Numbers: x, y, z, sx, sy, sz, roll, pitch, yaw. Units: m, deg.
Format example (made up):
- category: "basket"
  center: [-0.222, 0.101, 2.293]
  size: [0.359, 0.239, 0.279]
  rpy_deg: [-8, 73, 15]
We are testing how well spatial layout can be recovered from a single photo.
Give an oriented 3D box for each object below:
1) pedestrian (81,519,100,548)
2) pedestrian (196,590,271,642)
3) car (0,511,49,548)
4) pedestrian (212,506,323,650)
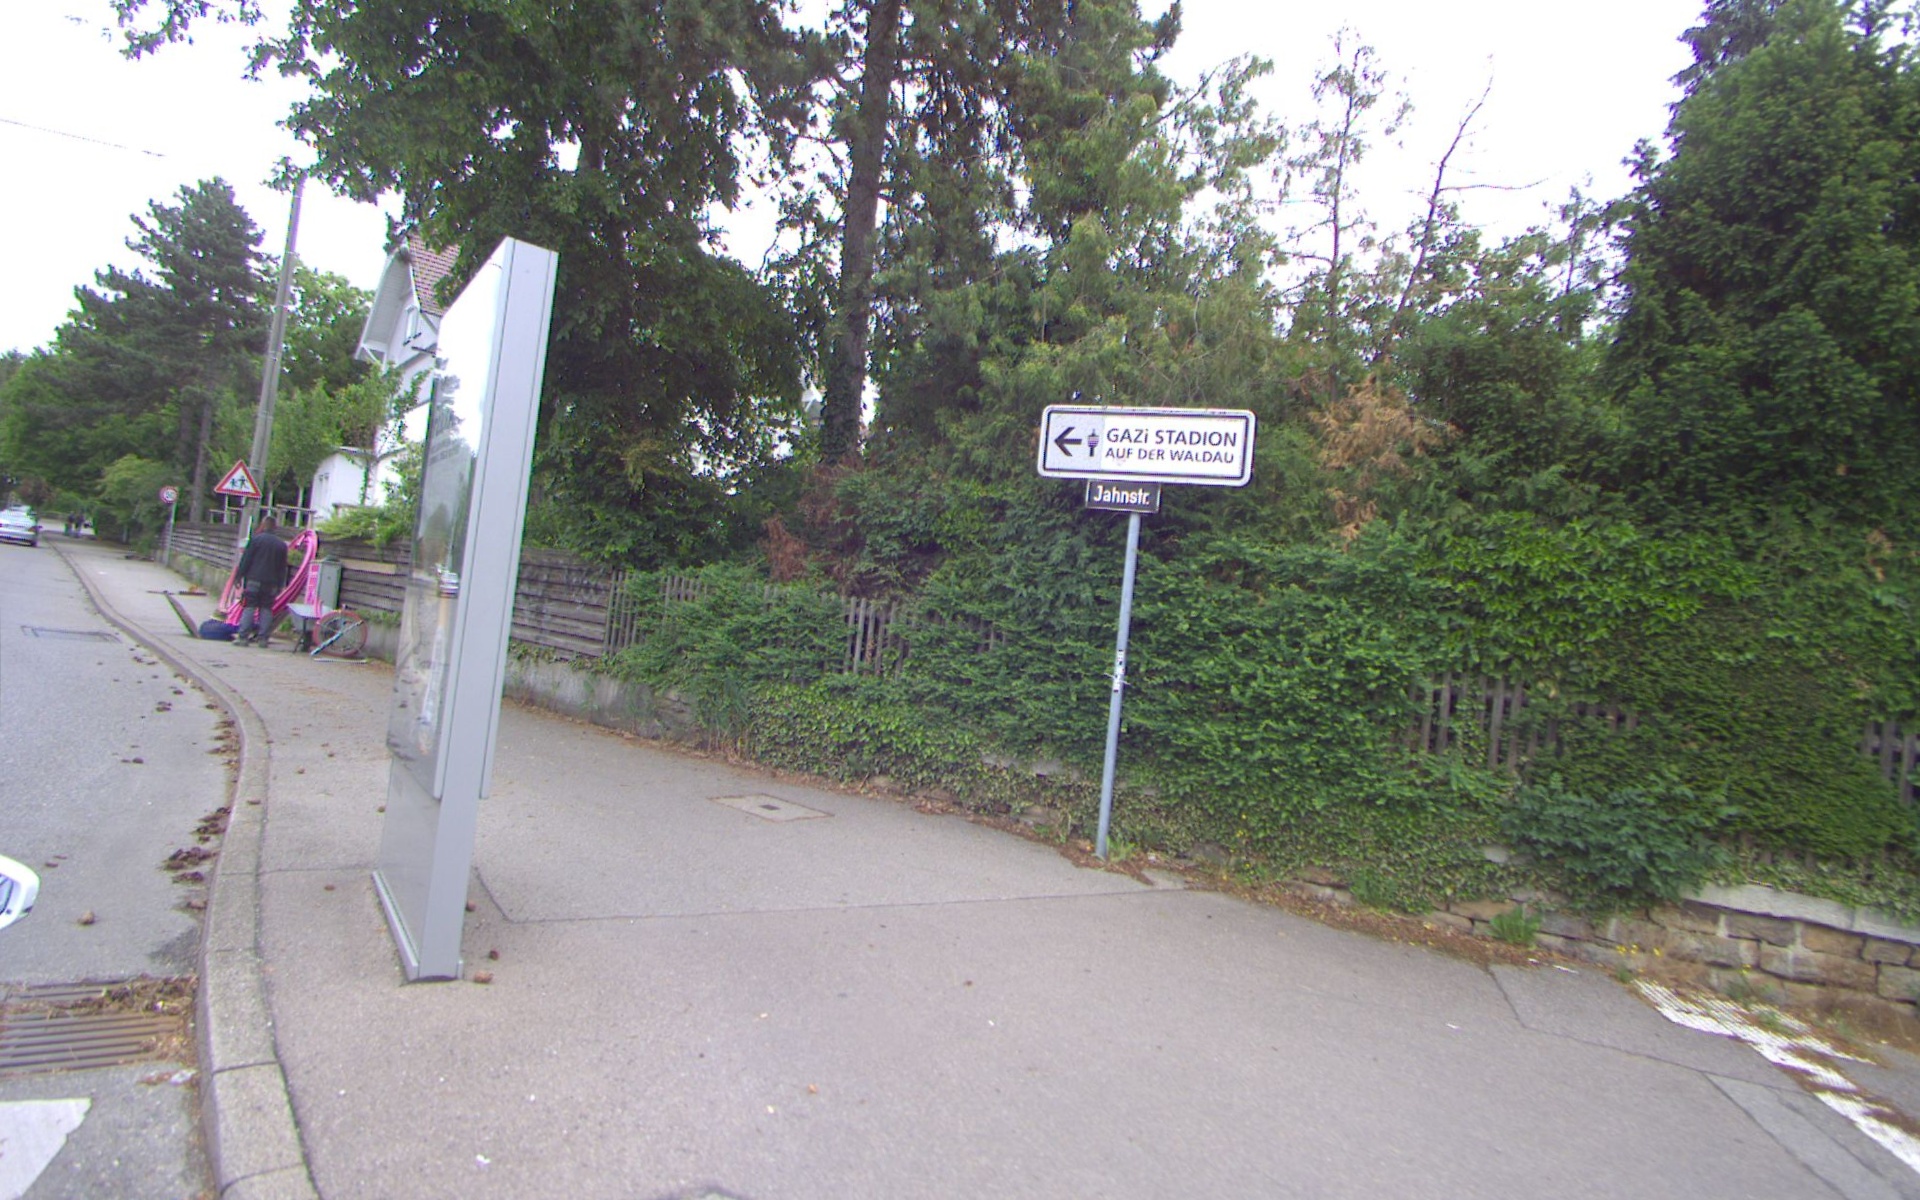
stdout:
- category: "pedestrian"
  center: [-59.090, -4.534, 68.367]
  size: [0.805, 1.828, 0.732]
  rpy_deg: [9, -1, -44]
- category: "pedestrian"
  center: [-11.085, 0.254, 15.365]
  size: [0.574, 0.704, 0.647]
  rpy_deg: [8, -1, 6]
- category: "car"
  center: [-44.238, -3.307, 47.208]
  size: [4.280, 1.431, 1.794]
  rpy_deg: [4, -4, 44]
- category: "pedestrian"
  center: [-10.092, -0.304, 14.677]
  size: [0.787, 1.946, 0.848]
  rpy_deg: [7, -1, 27]
